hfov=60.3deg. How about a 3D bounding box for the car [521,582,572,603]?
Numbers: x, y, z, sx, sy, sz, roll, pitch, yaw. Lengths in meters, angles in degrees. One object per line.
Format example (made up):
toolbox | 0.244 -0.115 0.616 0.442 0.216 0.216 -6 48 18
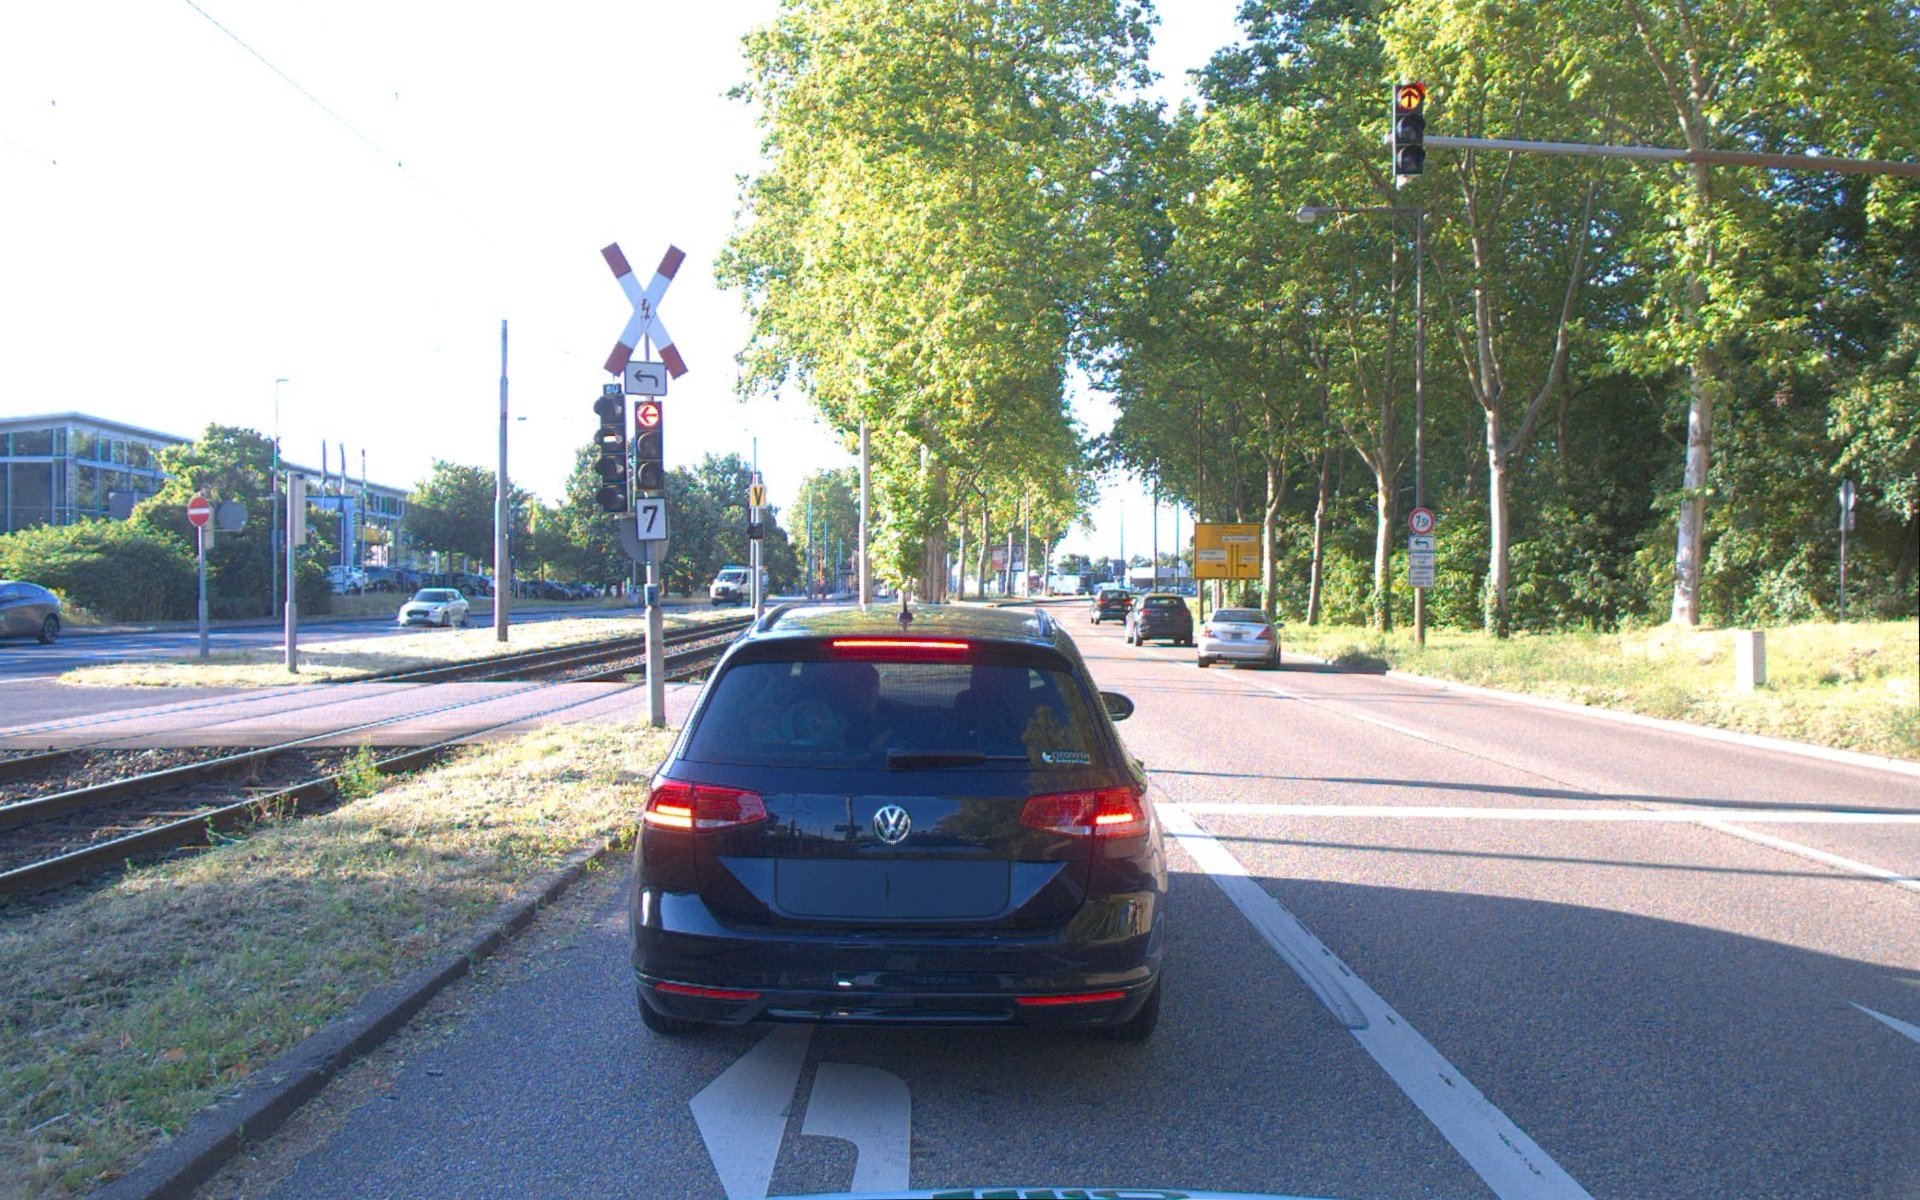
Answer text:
car | -34.554 -0.617 138.221 3.909 1.649 1.742 1 0 -6

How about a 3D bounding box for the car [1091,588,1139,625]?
car | 7.182 0.276 76.966 1.834 1.663 4.370 0 0 0

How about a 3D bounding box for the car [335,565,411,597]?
car | -32.912 -1.042 92.709 3.930 1.734 1.732 1 0 -22

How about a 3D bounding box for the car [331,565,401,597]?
car | -35.551 -1.147 99.010 3.930 1.848 1.732 1 0 -22

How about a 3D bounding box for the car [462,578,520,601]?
car | -35.243 -0.765 124.464 3.909 1.649 1.742 1 0 -6

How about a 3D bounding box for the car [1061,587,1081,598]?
car | 14.584 -0.973 218.187 1.955 1.445 3.995 1 0 -6

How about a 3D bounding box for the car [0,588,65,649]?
car | -25.196 0.465 42.749 1.823 1.507 4.172 1 1 1

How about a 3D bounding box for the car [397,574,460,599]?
car | -35.710 -0.883 111.099 3.930 1.583 1.732 1 0 -22

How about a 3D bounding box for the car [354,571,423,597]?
car | -35.204 -0.976 101.925 3.930 1.583 1.732 1 0 -22

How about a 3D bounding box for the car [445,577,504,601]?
car | -35.573 -0.806 121.248 3.909 1.649 1.742 1 0 -6

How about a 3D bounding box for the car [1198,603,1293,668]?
car | 6.370 0.737 36.636 1.575 1.317 3.985 1 0 17

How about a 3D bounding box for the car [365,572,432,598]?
car | -35.545 -0.949 104.704 3.930 1.583 1.732 1 0 -22

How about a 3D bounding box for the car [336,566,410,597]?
car | -33.695 -1.052 94.947 3.930 1.734 1.732 1 0 -22

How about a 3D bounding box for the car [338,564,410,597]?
car | -34.444 -1.115 97.273 3.930 1.848 1.732 1 0 -22

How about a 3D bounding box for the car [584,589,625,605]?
car | -35.967 -0.334 167.428 3.909 1.583 1.742 1 0 -5

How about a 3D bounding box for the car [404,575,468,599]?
car | -36.041 -0.862 113.794 3.913 1.583 1.740 1 0 -9

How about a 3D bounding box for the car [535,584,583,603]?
car | -35.222 -0.558 145.367 3.909 1.649 1.742 1 0 -6

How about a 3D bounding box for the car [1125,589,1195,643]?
car | 6.125 0.469 50.964 1.672 1.588 4.166 0 0 0

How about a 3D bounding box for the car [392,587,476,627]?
car | -21.094 0.256 66.462 1.823 1.507 4.094 1 1 4

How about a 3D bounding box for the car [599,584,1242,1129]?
car | -0.141 0.711 6.385 1.758 1.490 3.582 1 0 -1

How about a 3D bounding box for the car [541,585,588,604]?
car | -35.520 -0.532 148.525 3.909 1.649 1.742 1 0 -6

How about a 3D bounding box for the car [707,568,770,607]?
car | -15.013 -0.848 112.526 2.051 2.504 5.856 1 1 16
